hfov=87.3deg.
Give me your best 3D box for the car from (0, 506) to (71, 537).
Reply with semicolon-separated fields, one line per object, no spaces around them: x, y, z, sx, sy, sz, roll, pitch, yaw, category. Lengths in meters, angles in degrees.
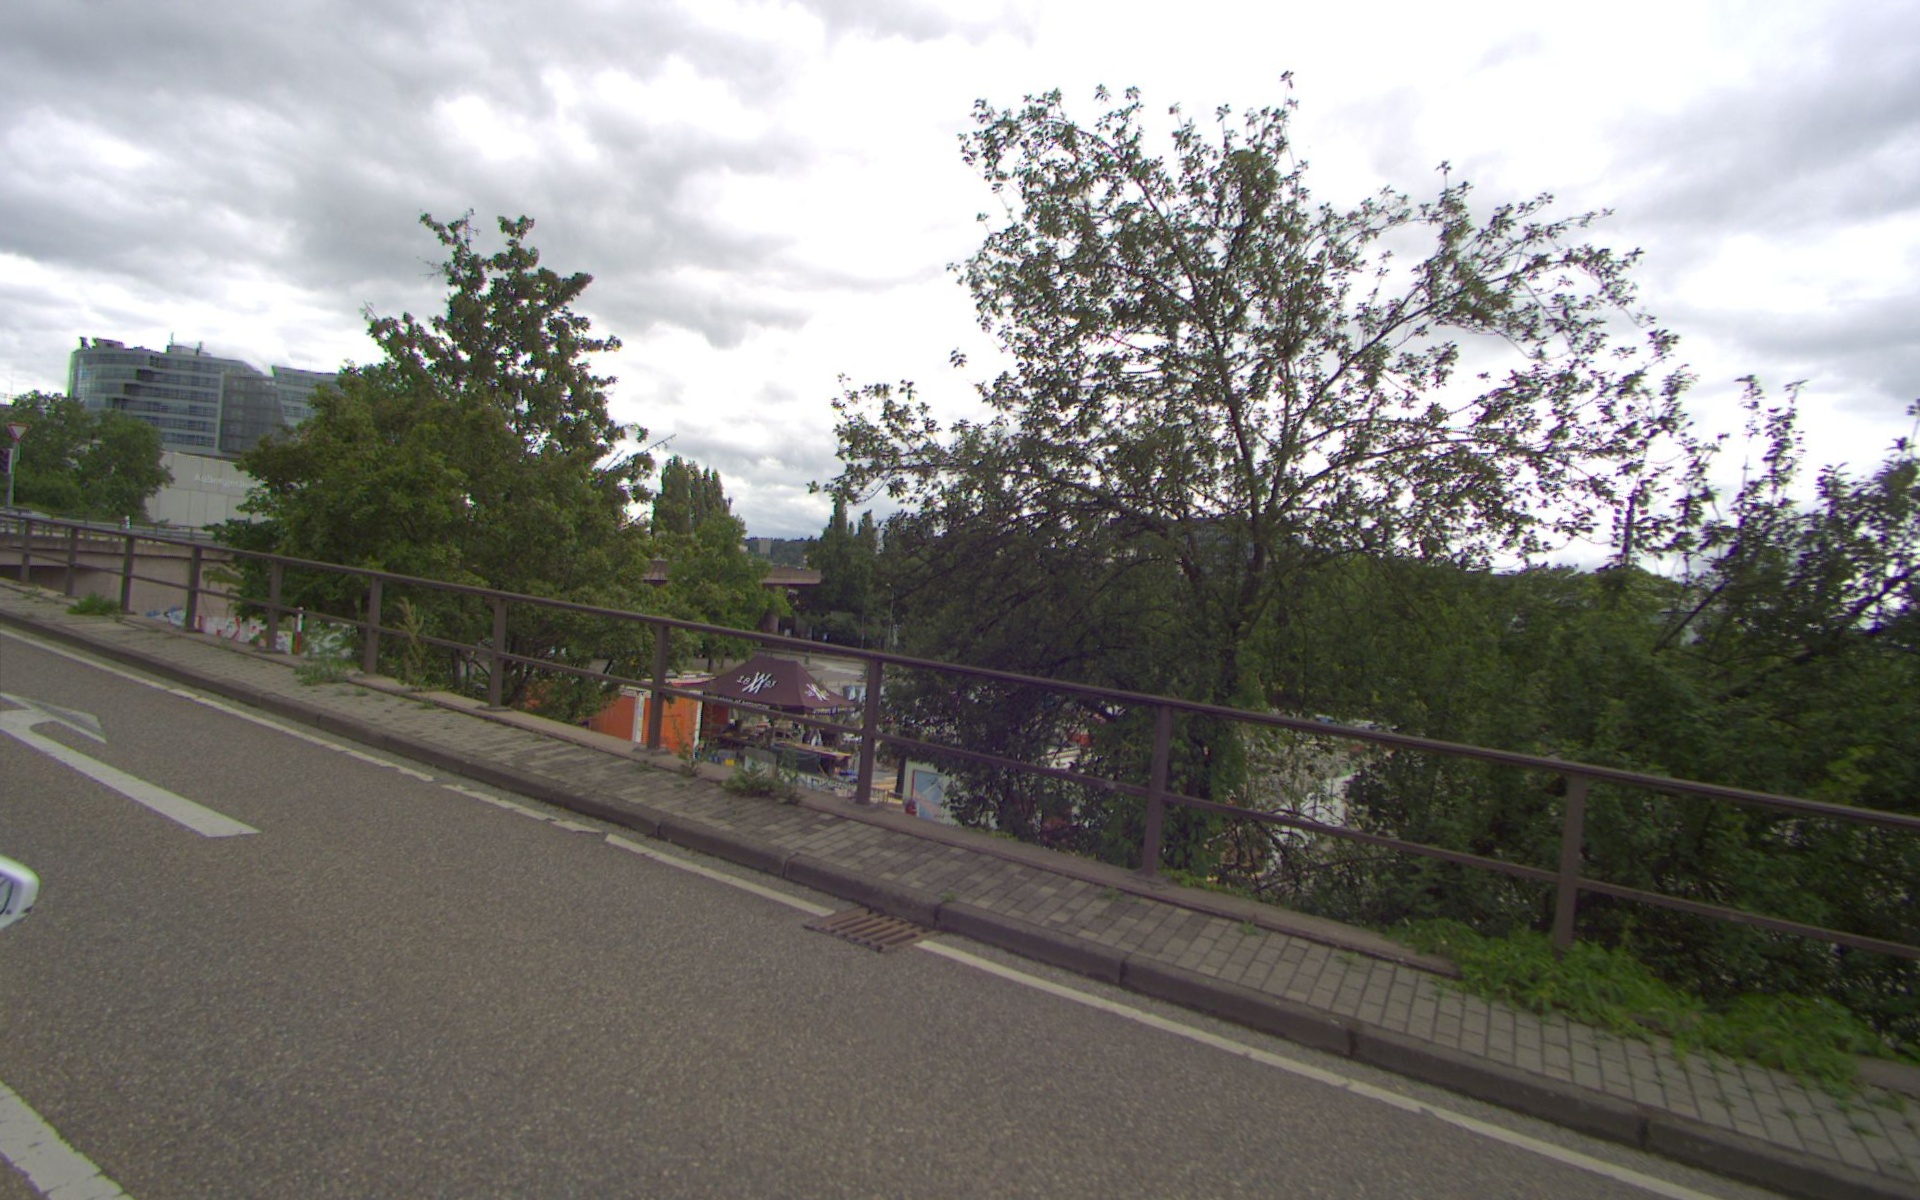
-62.946;-5.287;67.666;1.970;1.589;4.371;4;-2;36;car
